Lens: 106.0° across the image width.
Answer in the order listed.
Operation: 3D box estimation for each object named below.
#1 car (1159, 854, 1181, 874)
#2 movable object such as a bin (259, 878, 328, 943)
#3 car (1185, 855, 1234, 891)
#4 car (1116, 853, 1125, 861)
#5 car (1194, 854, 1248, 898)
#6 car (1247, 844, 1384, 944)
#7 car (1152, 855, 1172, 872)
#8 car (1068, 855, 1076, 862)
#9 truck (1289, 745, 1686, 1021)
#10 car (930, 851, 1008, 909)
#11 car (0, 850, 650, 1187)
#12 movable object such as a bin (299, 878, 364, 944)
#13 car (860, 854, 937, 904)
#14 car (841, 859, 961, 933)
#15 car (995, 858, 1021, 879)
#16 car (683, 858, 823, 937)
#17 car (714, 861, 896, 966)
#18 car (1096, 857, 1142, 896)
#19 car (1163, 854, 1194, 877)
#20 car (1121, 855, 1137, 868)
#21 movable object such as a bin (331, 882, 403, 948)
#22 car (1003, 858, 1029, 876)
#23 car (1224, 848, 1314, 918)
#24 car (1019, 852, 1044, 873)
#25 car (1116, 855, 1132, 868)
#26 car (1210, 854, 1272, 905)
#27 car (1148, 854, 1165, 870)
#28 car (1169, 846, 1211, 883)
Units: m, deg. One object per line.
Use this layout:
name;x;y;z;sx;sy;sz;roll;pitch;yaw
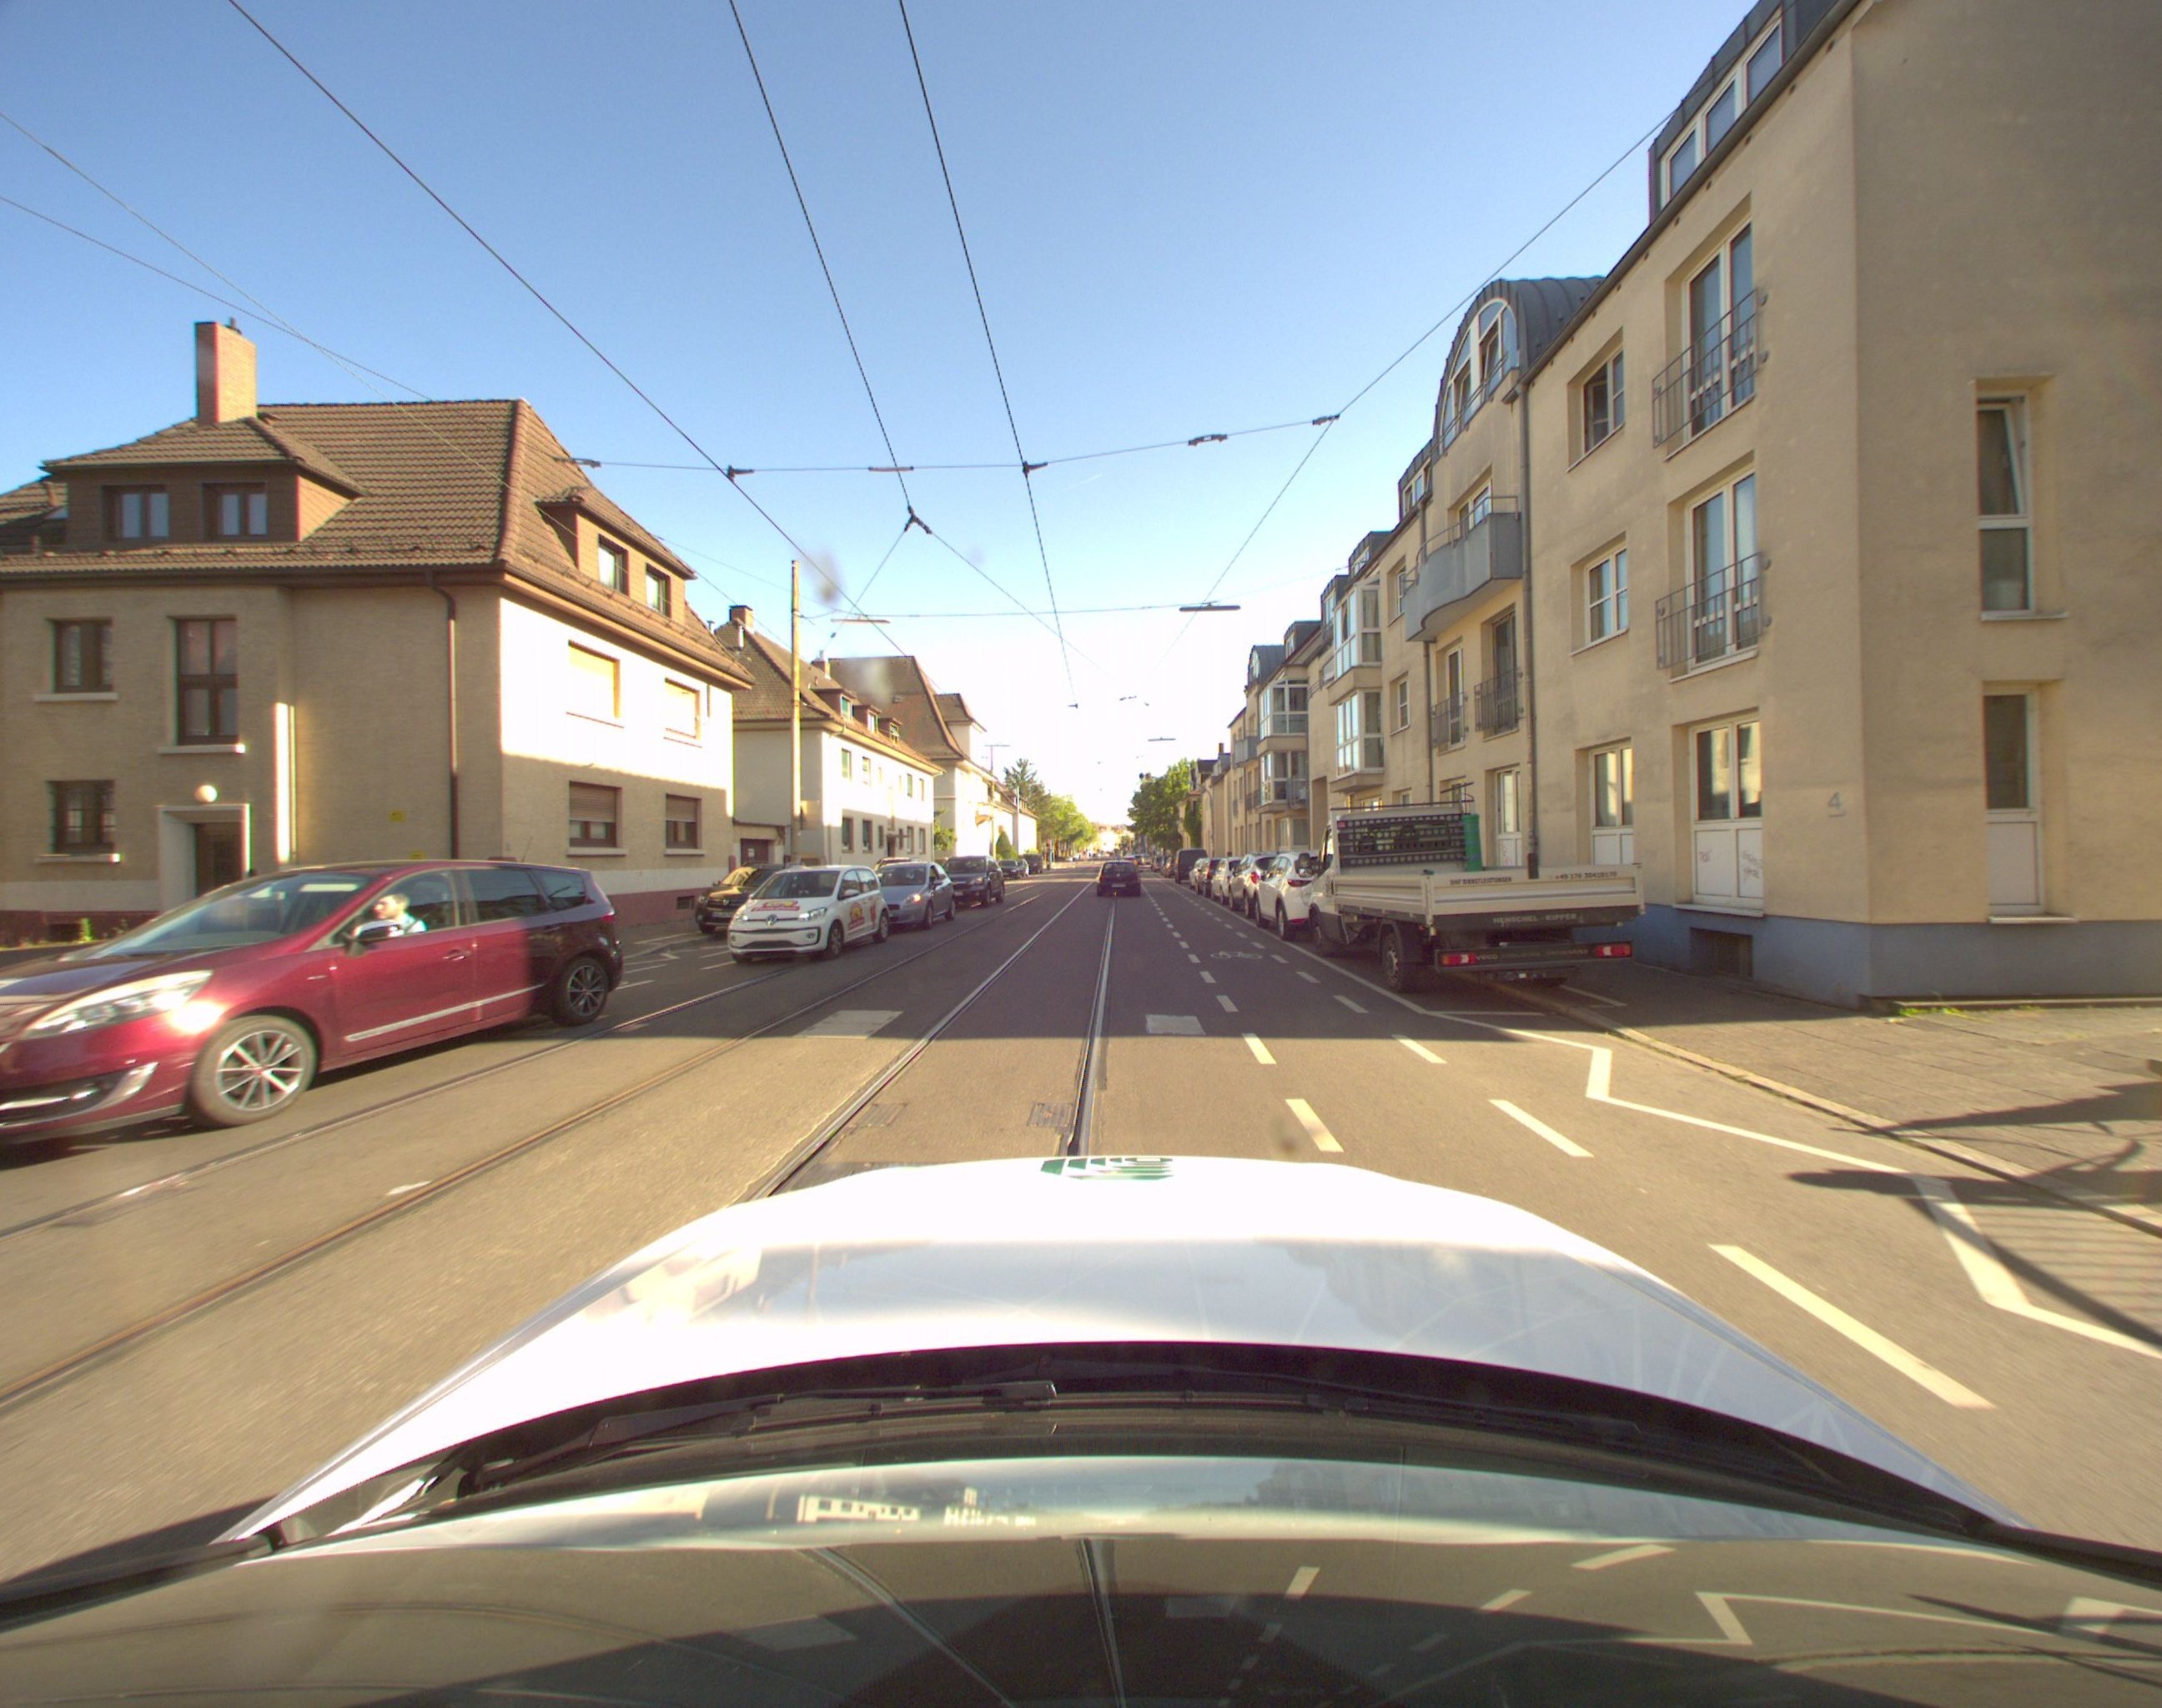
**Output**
car;7.335;0.778;67.284;1.452;1.599;3.294;1;0;1
movable object such as a bin;-14.142;1.001;14.634;0.612;1.111;0.590;2;0;2
car;5.757;0.824;36.743;1.670;1.491;4.174;1;0;2
car;9.197;0.641;190.357;1.781;1.860;4.001;2;0;1
car;5.274;0.783;31.019;1.548;1.557;3.654;1;0;2
car;4.578;0.704;16.499;1.732;1.746;4.259;1;0;3
car;7.523;0.878;75.879;1.596;1.525;3.550;1;0;1
car;-1.939;0.953;182.537;1.572;1.477;3.437;-2;0;-3
truck;4.483;0.265;10.502;2.286;2.477;6.151;-1;0;3
car;-3.570;0.784;26.603;1.697;1.705;4.367;-1;0;3
car;-5.717;0.825;6.341;1.729;1.611;4.723;-2;0;7
movable object such as a bin;-13.453;1.011;14.634;0.567;1.111;0.590;2;0;2
car;-6.947;0.898;31.433;1.755;1.705;4.557;-2;0;2
car;-3.993;0.877;18.742;1.611;1.461;4.078;-2;0;3
car;-5.434;1.044;61.141;1.658;1.477;4.248;-1;0;-1
car;-7.678;0.947;19.489;1.609;1.627;3.923;-2;0;2
car;-4.478;0.894;13.789;1.575;1.461;3.617;-2;0;4
car;1.529;0.856;32.610;1.709;1.402;4.009;-1;0;3
car;6.852;0.778;57.605;1.738;1.599;4.434;1;0;1
car;5.566;0.861;94.780;1.733;1.441;3.812;-1;0;3
movable object such as a bin;-12.807;1.080;14.622;0.639;1.111;0.672;2;0;2
car;-5.405;1.051;67.833;1.670;1.477;3.838;1;0;3
car;4.962;0.698;21.975;1.596;1.700;3.991;1;0;2
car;-4.929;0.816;81.817;1.897;2.014;4.954;1;0;4
car;4.562;0.767;85.767;1.627;1.372;3.761;-1;0;3
car;5.217;0.774;26.862;1.491;1.557;3.366;1;0;2
car;7.789;0.842;84.292;1.659;1.564;3.773;0;0;3
car;6.072;0.559;45.775;1.898;1.987;4.565;1;0;2
